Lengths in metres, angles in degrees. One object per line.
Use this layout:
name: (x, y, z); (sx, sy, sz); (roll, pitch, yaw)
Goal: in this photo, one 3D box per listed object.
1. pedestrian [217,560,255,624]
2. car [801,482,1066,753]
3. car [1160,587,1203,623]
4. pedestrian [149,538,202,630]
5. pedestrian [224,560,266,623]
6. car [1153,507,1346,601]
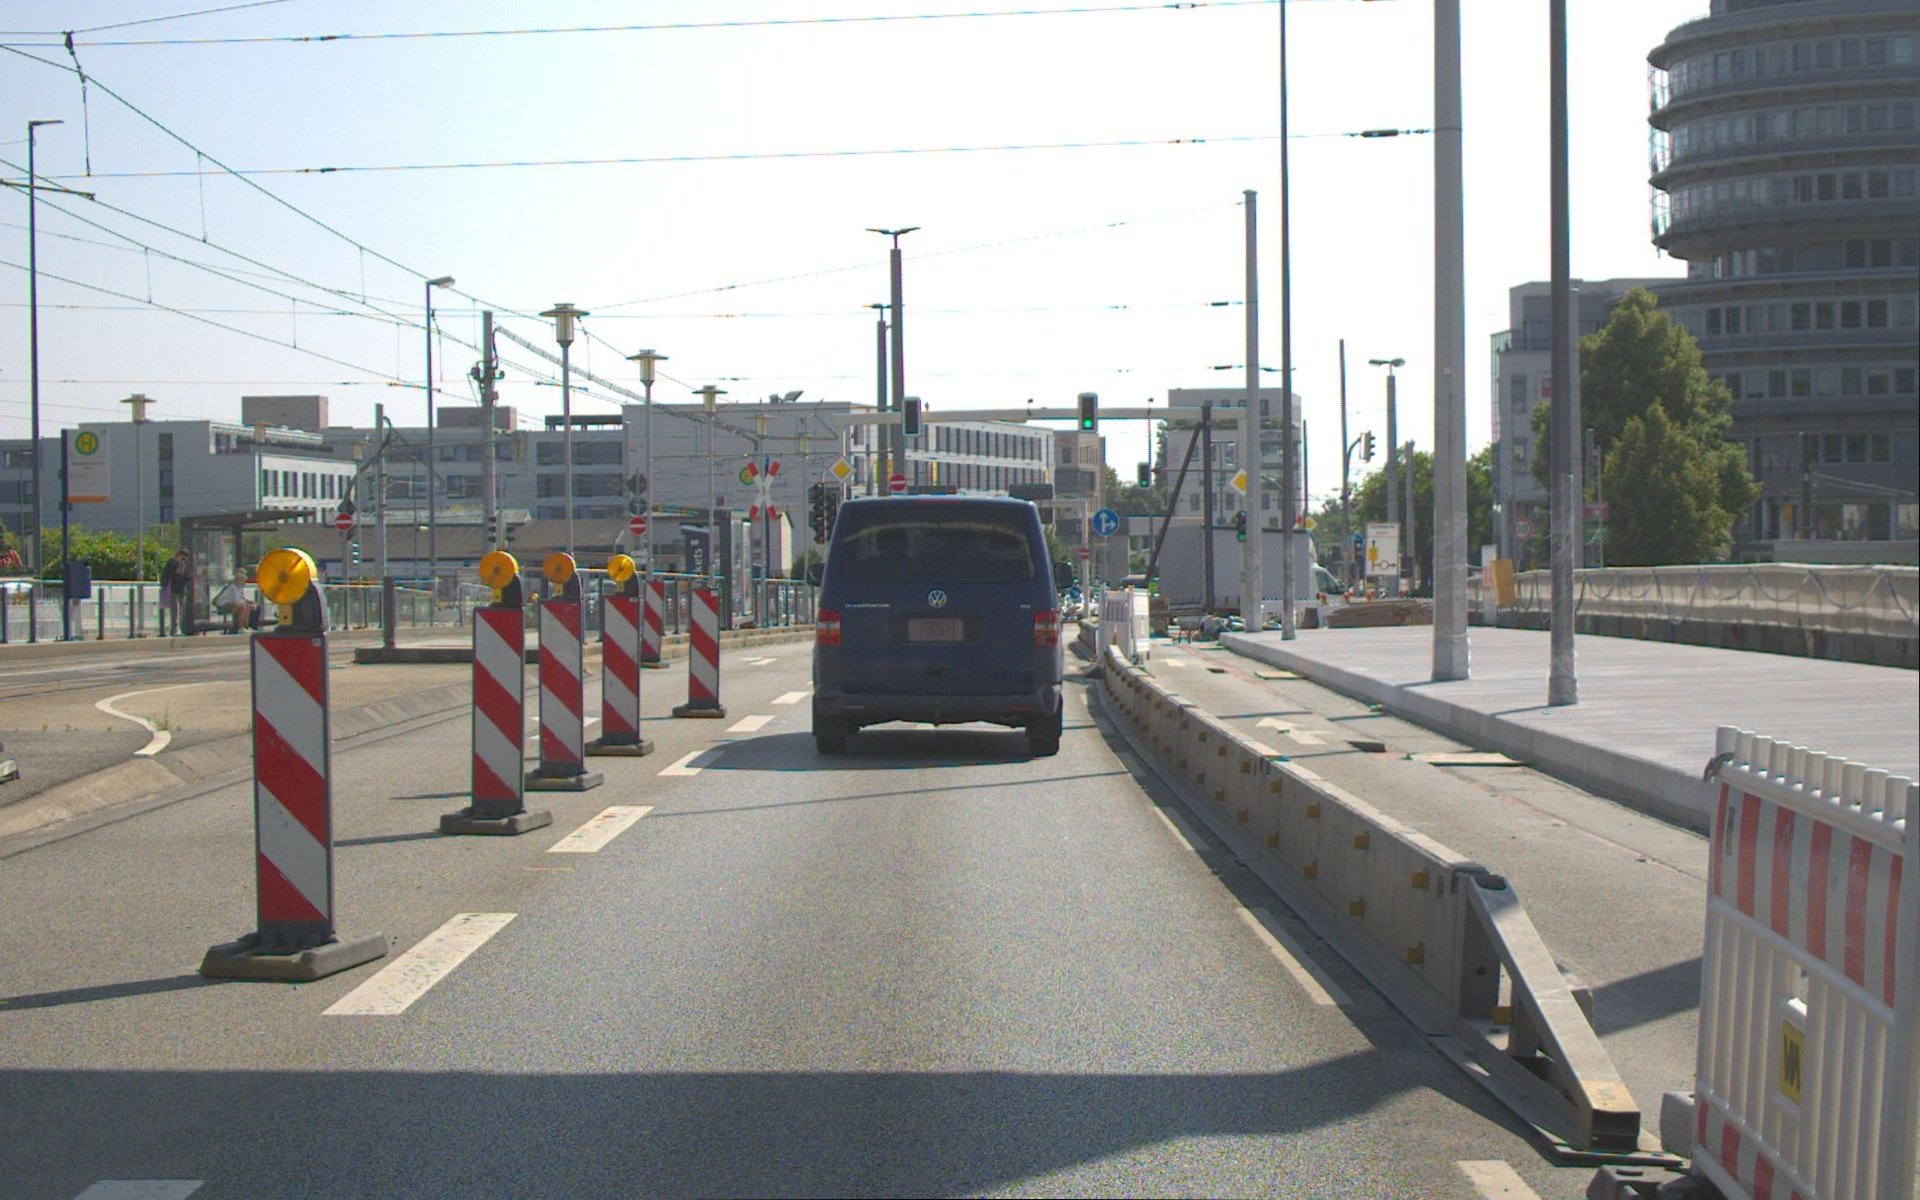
pedestrian: (-14.452, -0.163, 68.635); (0.648, 1.269, 0.453); (0, 0, 5)
car: (-0.153, 0.086, 27.032); (1.888, 1.927, 4.000); (1, 1, 1)
car: (9.241, 0.207, 143.242); (1.744, 1.470, 3.884); (0, 0, 4)
pedestrian: (-14.078, -0.287, 61.738); (0.660, 1.649, 0.739); (0, 1, 13)
pedestrian: (-14.400, -0.176, 69.209); (0.648, 1.269, 0.697); (0, 0, 5)
car: (9.210, -1.443, 109.091); (5.952, 2.877, 2.346); (0, 2, -36)
